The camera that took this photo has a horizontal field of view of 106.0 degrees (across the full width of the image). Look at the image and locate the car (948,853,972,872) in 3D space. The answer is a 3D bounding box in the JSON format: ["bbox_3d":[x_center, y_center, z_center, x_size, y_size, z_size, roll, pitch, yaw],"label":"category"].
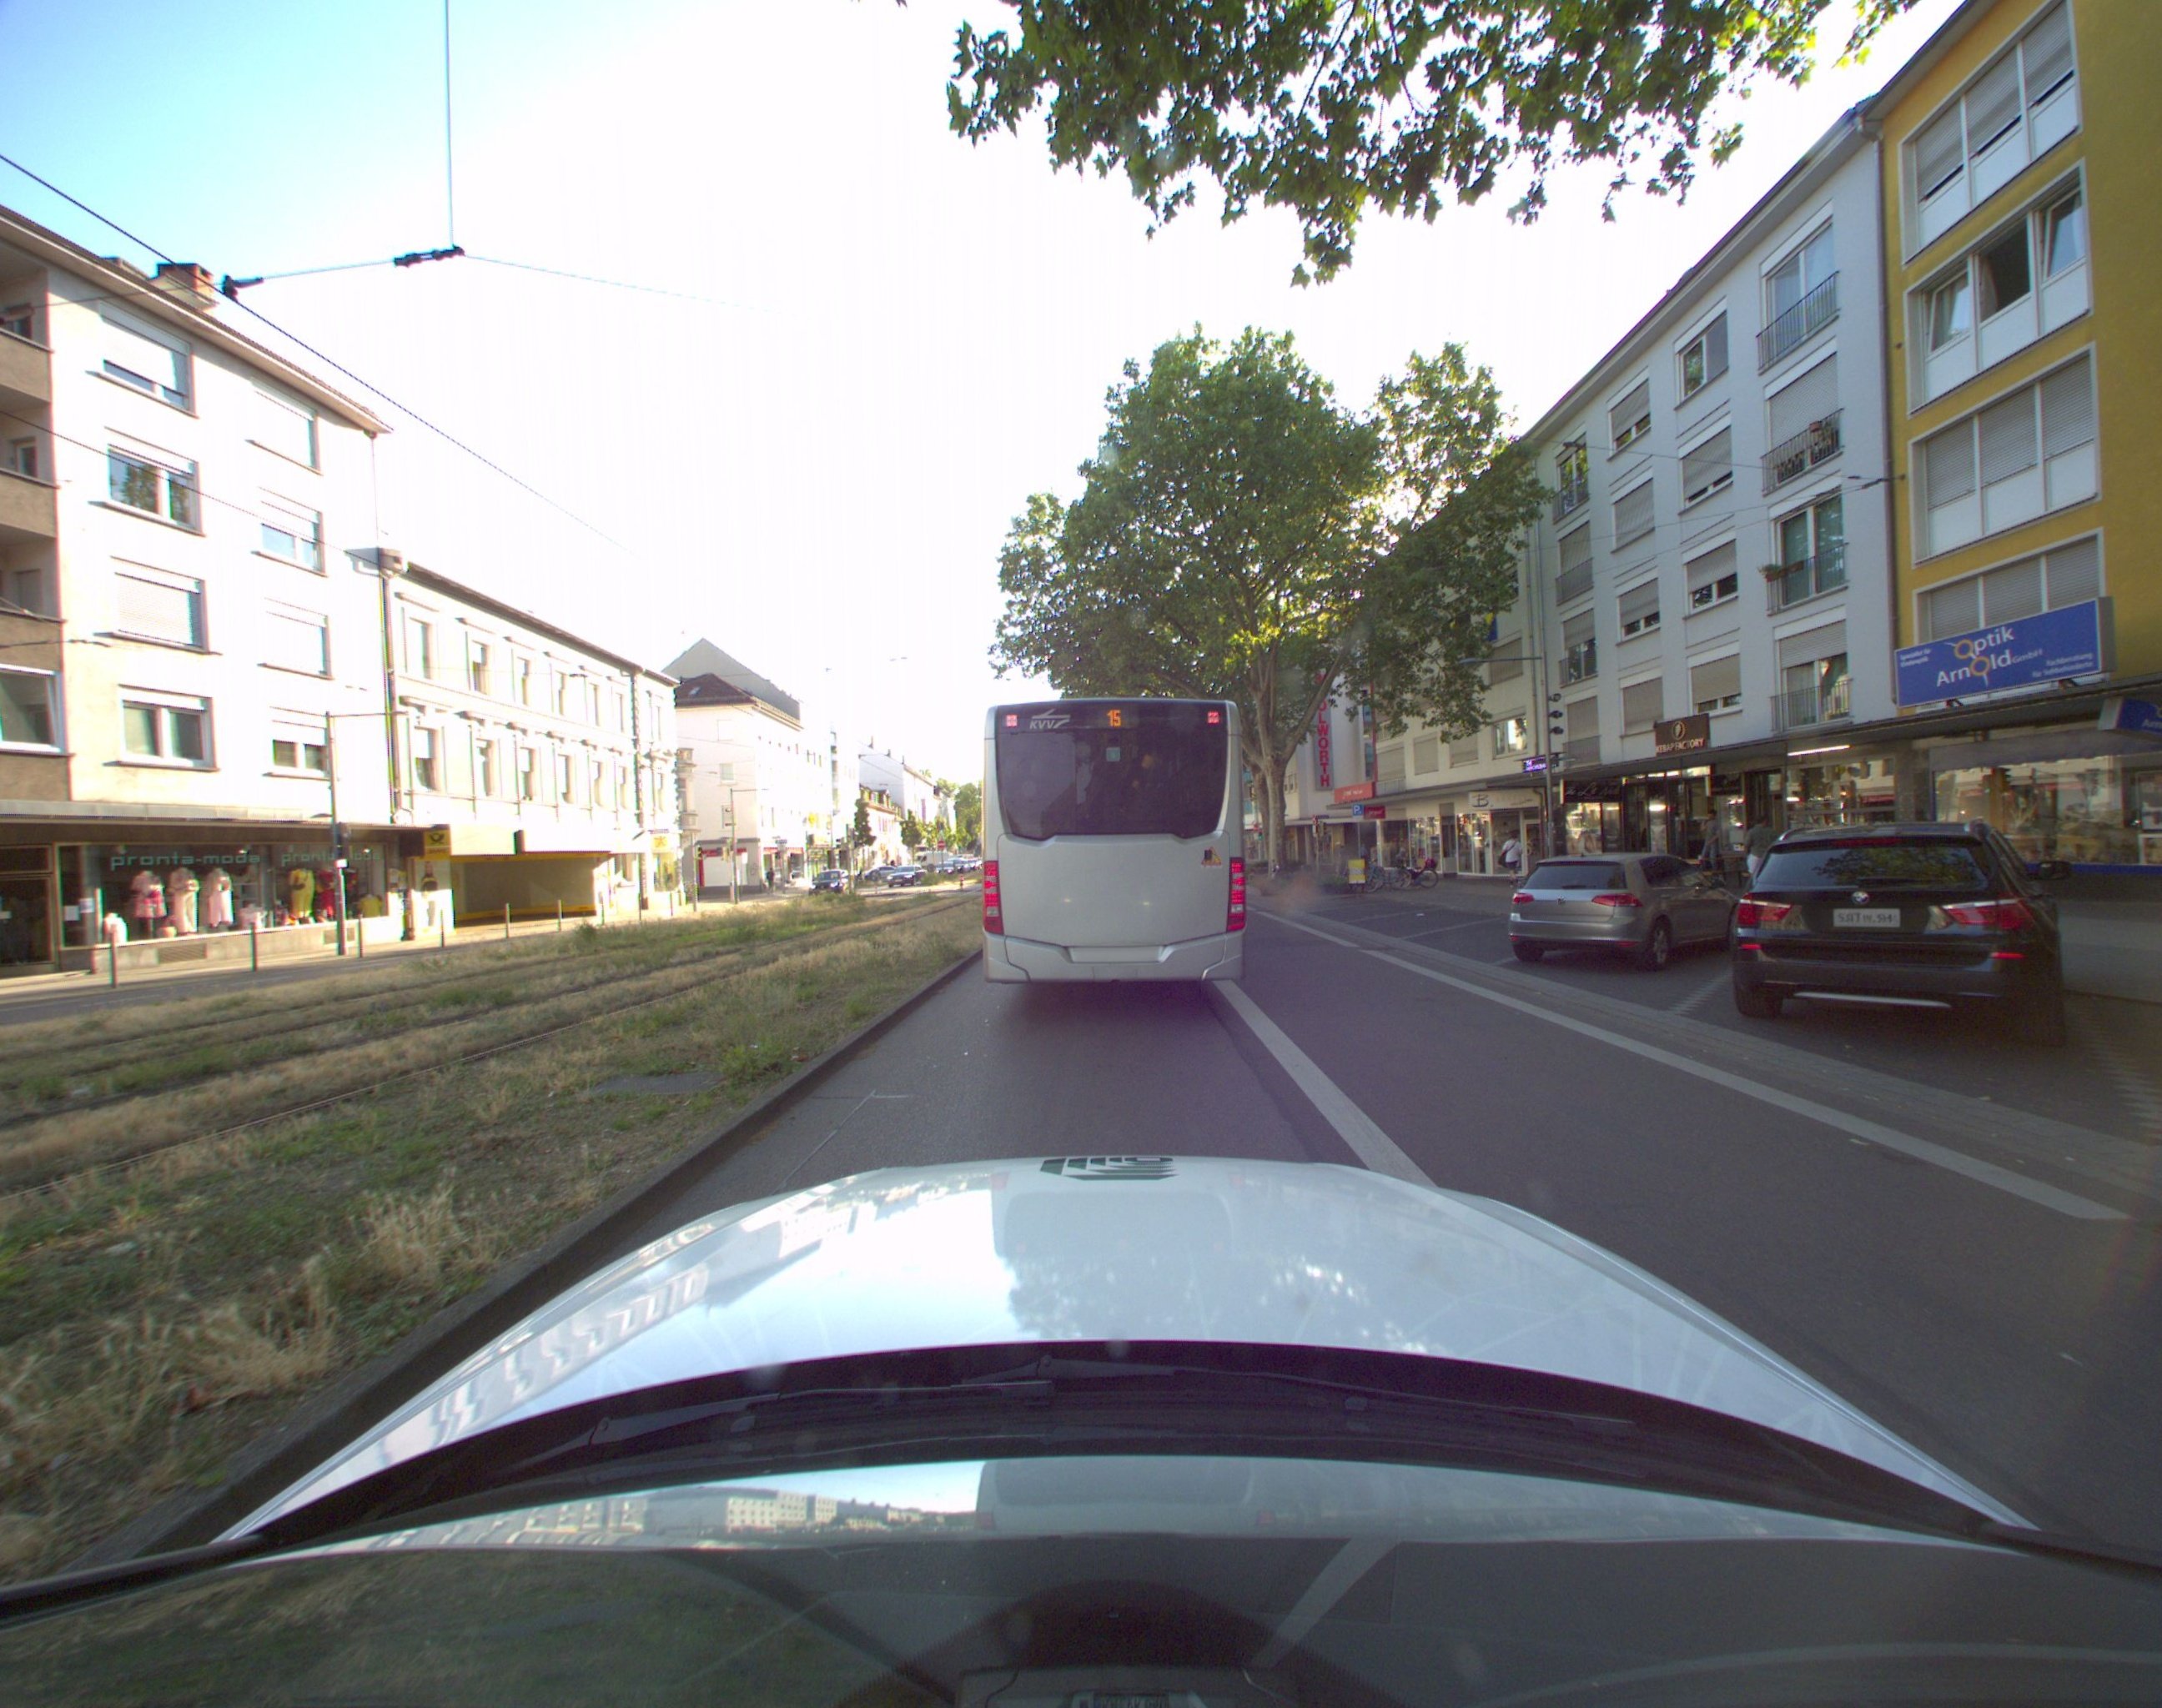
[{"bbox_3d":[-13.505,0.935,91.185,1.988,2.013,3.998,-2,0,-1],"label":"car"}]

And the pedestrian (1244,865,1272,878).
[{"bbox_3d":[8.703,0.872,40.104,1.250,0.589,0.482,-2,0,0],"label":"pedestrian"}]

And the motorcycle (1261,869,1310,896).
[{"bbox_3d":[7.328,1.015,29.207,1.566,0.892,0.544,-3,-1,-2],"label":"motorcycle"}]

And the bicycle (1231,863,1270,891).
[{"bbox_3d":[6.996,0.935,33.680,1.503,1.105,0.460,1,0,2],"label":"bicycle"}]

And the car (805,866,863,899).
[{"bbox_3d":[-13.066,1.498,43.308,1.715,1.509,3.479,-5,0,3],"label":"car"}]

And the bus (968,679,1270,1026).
[{"bbox_3d":[0.524,-0.016,10.934,2.667,3.083,7.119,-1,0,3],"label":"bus"}]

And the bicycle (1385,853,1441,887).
[{"bbox_3d":[12.322,0.599,30.248,1.753,1.154,0.680,-4,-1,10],"label":"bicycle"}]

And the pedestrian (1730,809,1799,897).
[{"bbox_3d":[14.736,-0.023,17.579,0.703,1.791,0.789,-6,-1,7],"label":"pedestrian"}]

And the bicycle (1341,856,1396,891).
[{"bbox_3d":[11.063,0.750,31.359,1.783,1.189,0.671,-5,-1,-7],"label":"bicycle"}]

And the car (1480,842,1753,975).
[{"bbox_3d":[7.590,0.640,11.419,4.196,1.451,1.790,-2,-1,-36],"label":"car"}]

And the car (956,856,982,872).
[{"bbox_3d":[-11.326,1.003,82.689,1.772,1.615,4.513,0,0,4],"label":"car"}]

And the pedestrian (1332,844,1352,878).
[{"bbox_3d":[14.085,0.358,43.930,0.777,1.794,0.764,-2,-1,2],"label":"pedestrian"}]

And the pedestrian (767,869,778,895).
[{"bbox_3d":[-20.970,1.909,55.340,0.423,1.713,0.509,-2,-1,6],"label":"pedestrian"}]

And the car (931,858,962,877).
[{"bbox_3d":[-12.181,1.196,73.822,1.773,1.450,4.049,-4,1,4],"label":"car"}]

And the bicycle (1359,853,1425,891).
[{"bbox_3d":[11.385,0.655,29.887,2.069,1.233,0.833,-3,-1,6],"label":"bicycle"}]

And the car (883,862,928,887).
[{"bbox_3d":[-12.623,1.449,58.744,1.986,1.559,4.777,-2,0,2],"label":"car"}]

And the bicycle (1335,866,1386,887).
[{"bbox_3d":[11.452,0.913,33.360,1.864,0.765,0.713,-2,0,10],"label":"bicycle"}]

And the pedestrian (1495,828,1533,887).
[{"bbox_3d":[14.130,0.105,26.568,0.643,1.876,0.821,-2,-1,-12],"label":"pedestrian"}]

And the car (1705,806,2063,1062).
[{"bbox_3d":[7.403,0.492,7.373,4.172,1.681,1.789,-2,-1,-39],"label":"car"}]

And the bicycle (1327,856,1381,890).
[{"bbox_3d":[10.831,0.755,32.376,1.865,1.189,0.713,-5,-1,10],"label":"bicycle"}]

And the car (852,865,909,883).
[{"bbox_3d":[-18.271,1.816,74.232,4.571,1.412,1.978,-2,0,-35],"label":"car"}]

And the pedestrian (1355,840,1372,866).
[{"bbox_3d":[18.621,-0.061,53.602,0.746,1.679,0.834,-2,2,-4],"label":"pedestrian"}]

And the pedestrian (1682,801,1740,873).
[{"bbox_3d":[16.788,-0.444,21.702,0.910,1.876,0.735,-2,-1,-9],"label":"pedestrian"}]
